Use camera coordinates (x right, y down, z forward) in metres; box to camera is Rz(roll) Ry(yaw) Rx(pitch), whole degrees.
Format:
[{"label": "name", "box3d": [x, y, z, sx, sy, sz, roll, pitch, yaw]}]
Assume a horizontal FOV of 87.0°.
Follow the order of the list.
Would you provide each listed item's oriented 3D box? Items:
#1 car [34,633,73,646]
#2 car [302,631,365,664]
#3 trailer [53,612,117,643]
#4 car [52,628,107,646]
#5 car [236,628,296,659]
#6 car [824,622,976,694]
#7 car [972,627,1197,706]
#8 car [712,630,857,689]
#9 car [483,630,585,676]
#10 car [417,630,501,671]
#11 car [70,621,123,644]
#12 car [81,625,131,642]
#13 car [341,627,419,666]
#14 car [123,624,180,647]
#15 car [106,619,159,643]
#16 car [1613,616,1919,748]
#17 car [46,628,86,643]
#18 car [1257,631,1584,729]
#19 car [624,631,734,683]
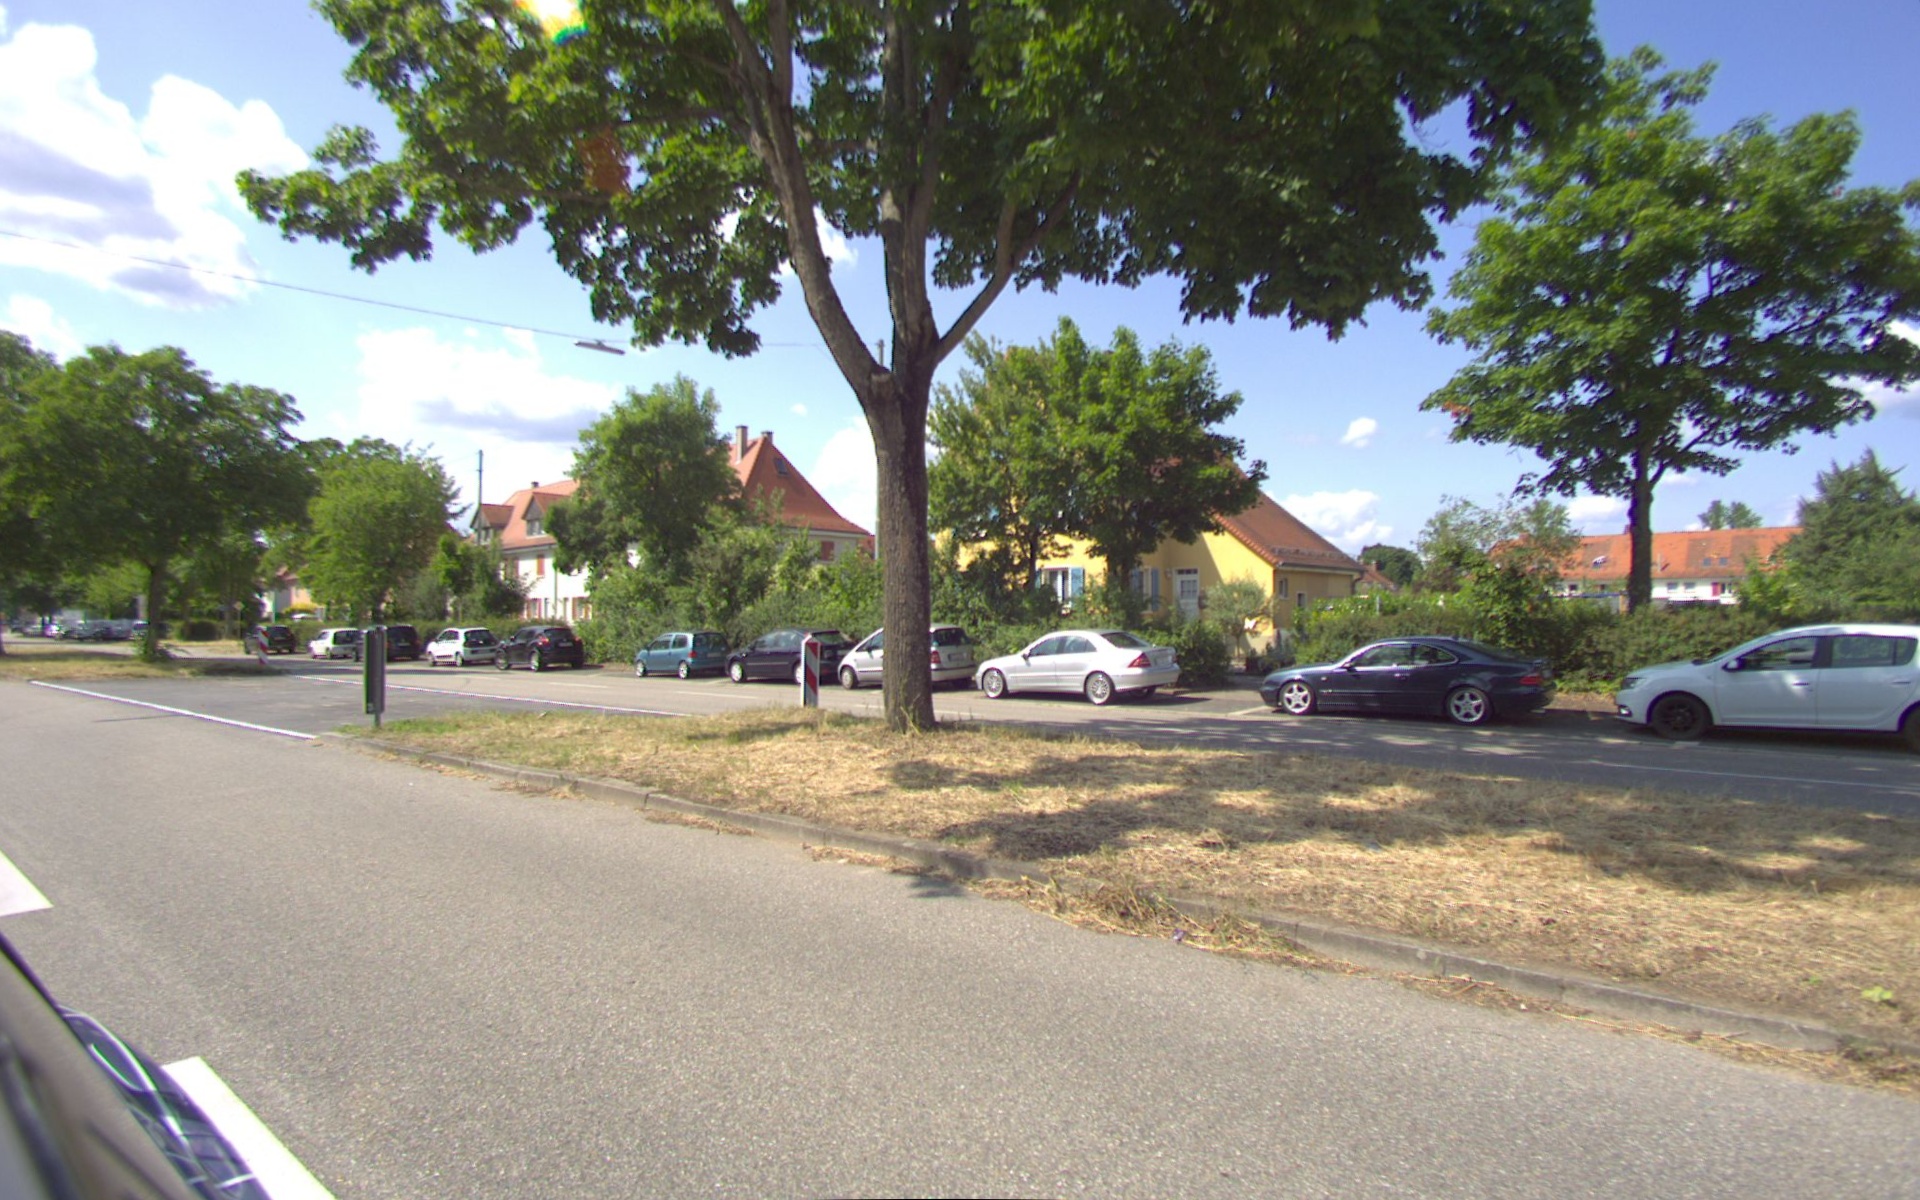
[{"label": "car", "box3d": [-109.990, 4.823, 122.809, 1.646, 1.358, 3.827, -1, 1, -8]}, {"label": "car", "box3d": [-31.012, 2.323, 50.077, 3.532, 1.472, 1.578, -1, 1, 40]}, {"label": "trailer", "box3d": [-95.719, 2.993, 110.803, 2.782, 3.132, 5.767, -2, 0, -12]}, {"label": "car", "box3d": [-88.049, 3.683, 101.233, 1.799, 1.521, 3.946, -1, 1, 41]}, {"label": "car", "box3d": [-39.187, 2.416, 57.121, 3.997, 1.563, 1.749, -1, 1, 40]}, {"label": "car", "box3d": [-1.510, 1.354, 24.473, 3.740, 1.569, 1.388, -2, 0, 41]}, {"label": "car", "box3d": [2.432, 1.292, 20.666, 4.530, 1.380, 1.494, -2, 0, 43]}, {"label": "car", "box3d": [-4.788, 1.561, 27.279, 4.354, 1.405, 1.388, -2, 0, 41]}, {"label": "car", "box3d": [-15.376, 1.878, 36.441, 4.100, 1.492, 1.644, -2, 0, 40]}, {"label": "car", "box3d": [-20.376, 2.023, 41.134, 3.843, 1.462, 1.644, -1, 1, 40]}, {"label": "car", "box3d": [-84.010, 3.174, 98.535, 1.779, 2.029, 4.002, -1, 1, -2]}, {"label": "car", "box3d": [-81.874, 3.181, 97.078, 1.550, 1.408, 4.002, -1, 1, -2]}, {"label": "car", "box3d": [-26.323, 2.071, 45.887, 4.311, 1.624, 1.644, -1, 1, 40]}, {"label": "car", "box3d": [-69.544, 3.015, 87.103, 1.779, 1.874, 4.002, -1, -1, -2]}, {"label": "car", "box3d": [-76.540, 2.842, 93.656, 1.779, 2.029, 4.002, -1, 1, -2]}, {"label": "car", "box3d": [11.114, 0.990, 13.209, 4.124, 1.496, 1.671, -1, 1, 43]}, {"label": "car", "box3d": [-103.810, 4.105, 117.545, 1.646, 1.475, 3.827, -1, 1, -8]}, {"label": "car", "box3d": [7.396, 1.219, 16.585, 4.583, 1.316, 1.619, -2, 0, 43]}, {"label": "car", "box3d": [-8.599, 1.689, 30.819, 3.475, 1.405, 1.546, -1, 1, 41]}]
